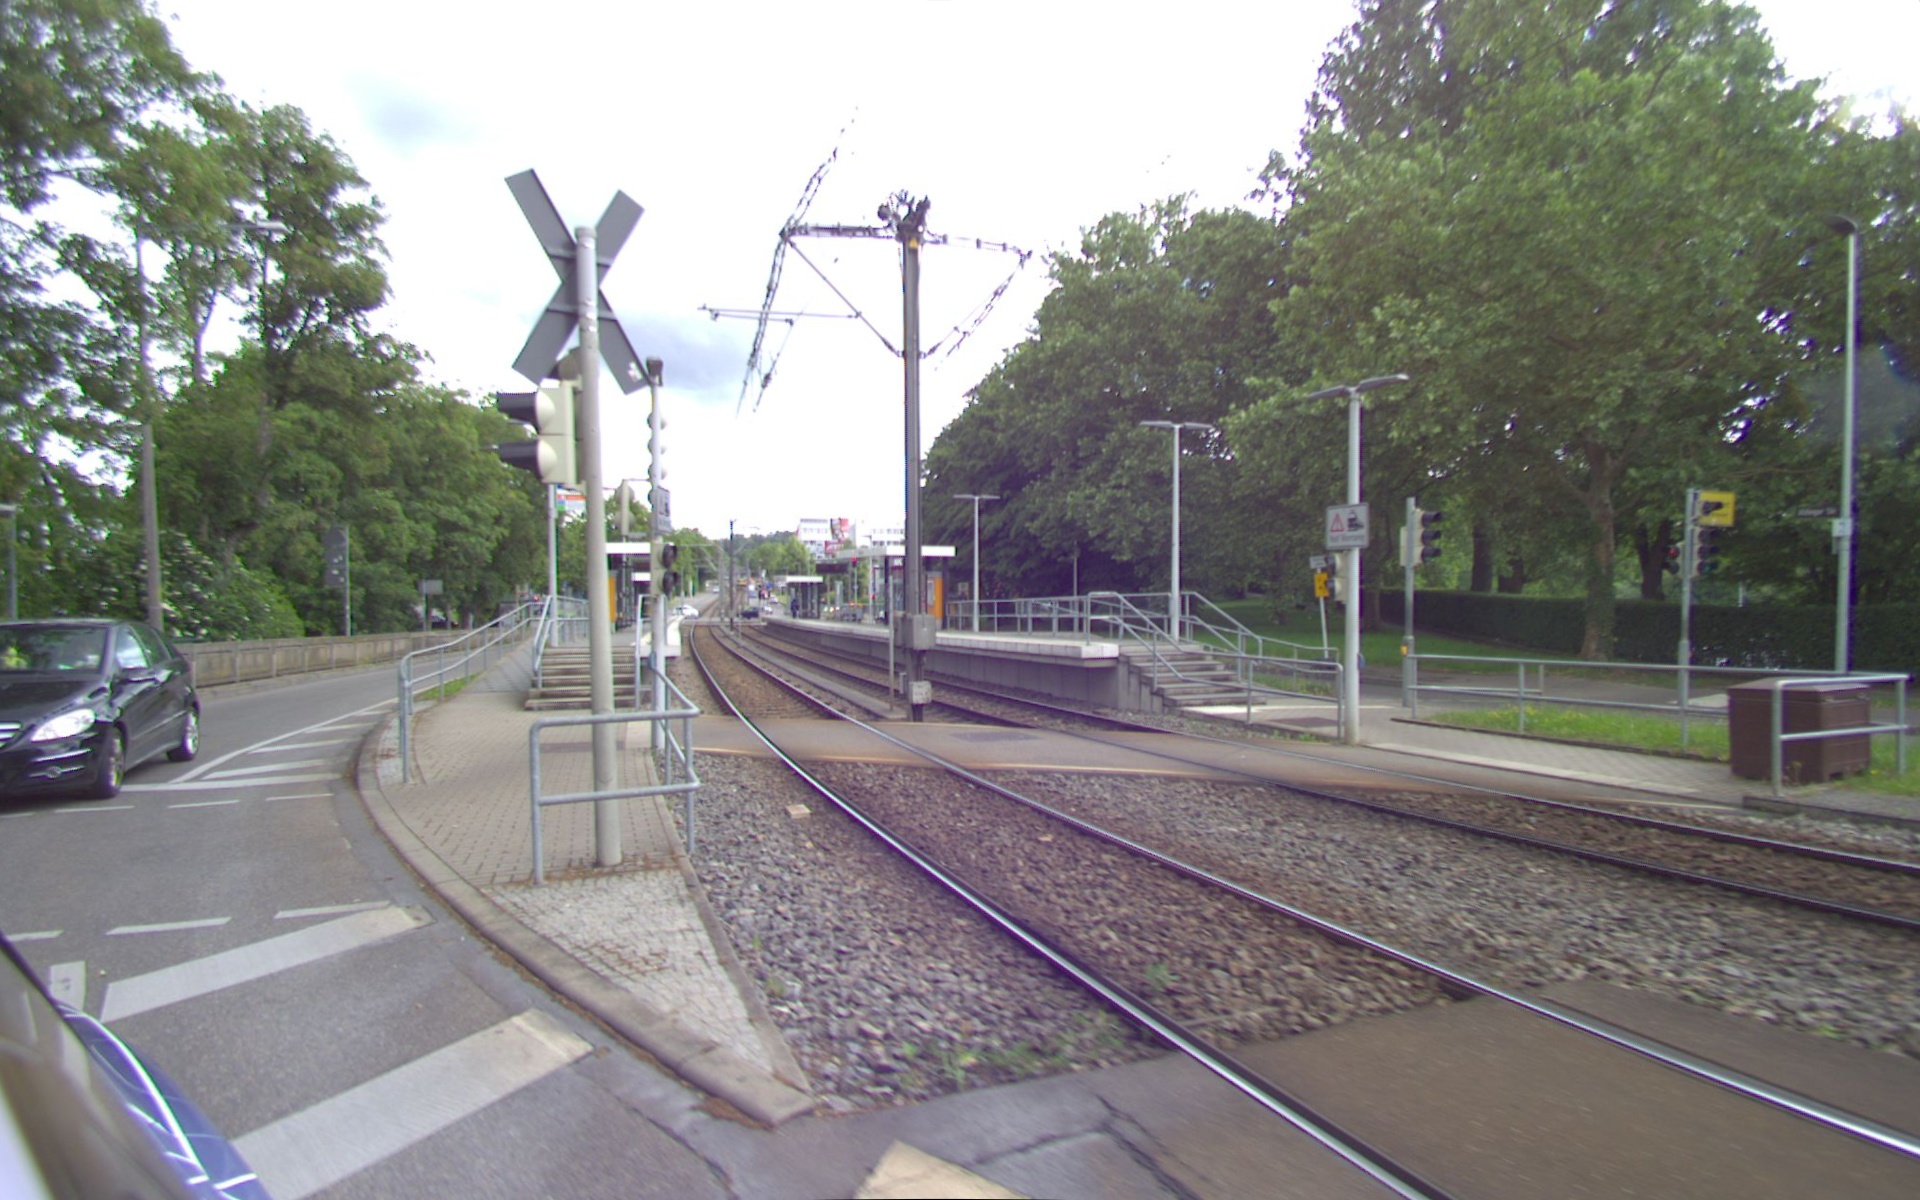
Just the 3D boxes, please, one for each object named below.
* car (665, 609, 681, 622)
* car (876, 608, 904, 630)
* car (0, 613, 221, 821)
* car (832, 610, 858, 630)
[{"bbox_3d":[-32.137,1.732,113.195,1.675,1.489,3.719,0,-1,-17],"label":"car"},{"bbox_3d":[-6.101,1.650,87.558,1.713,1.853,3.810,0,-1,-14],"label":"car"},{"bbox_3d":[-8.628,0.951,9.657,1.683,1.595,4.457,1,-2,-25],"label":"car"},{"bbox_3d":[-10.068,1.767,88.367,1.742,1.712,3.804,0,-1,-14],"label":"car"}]
